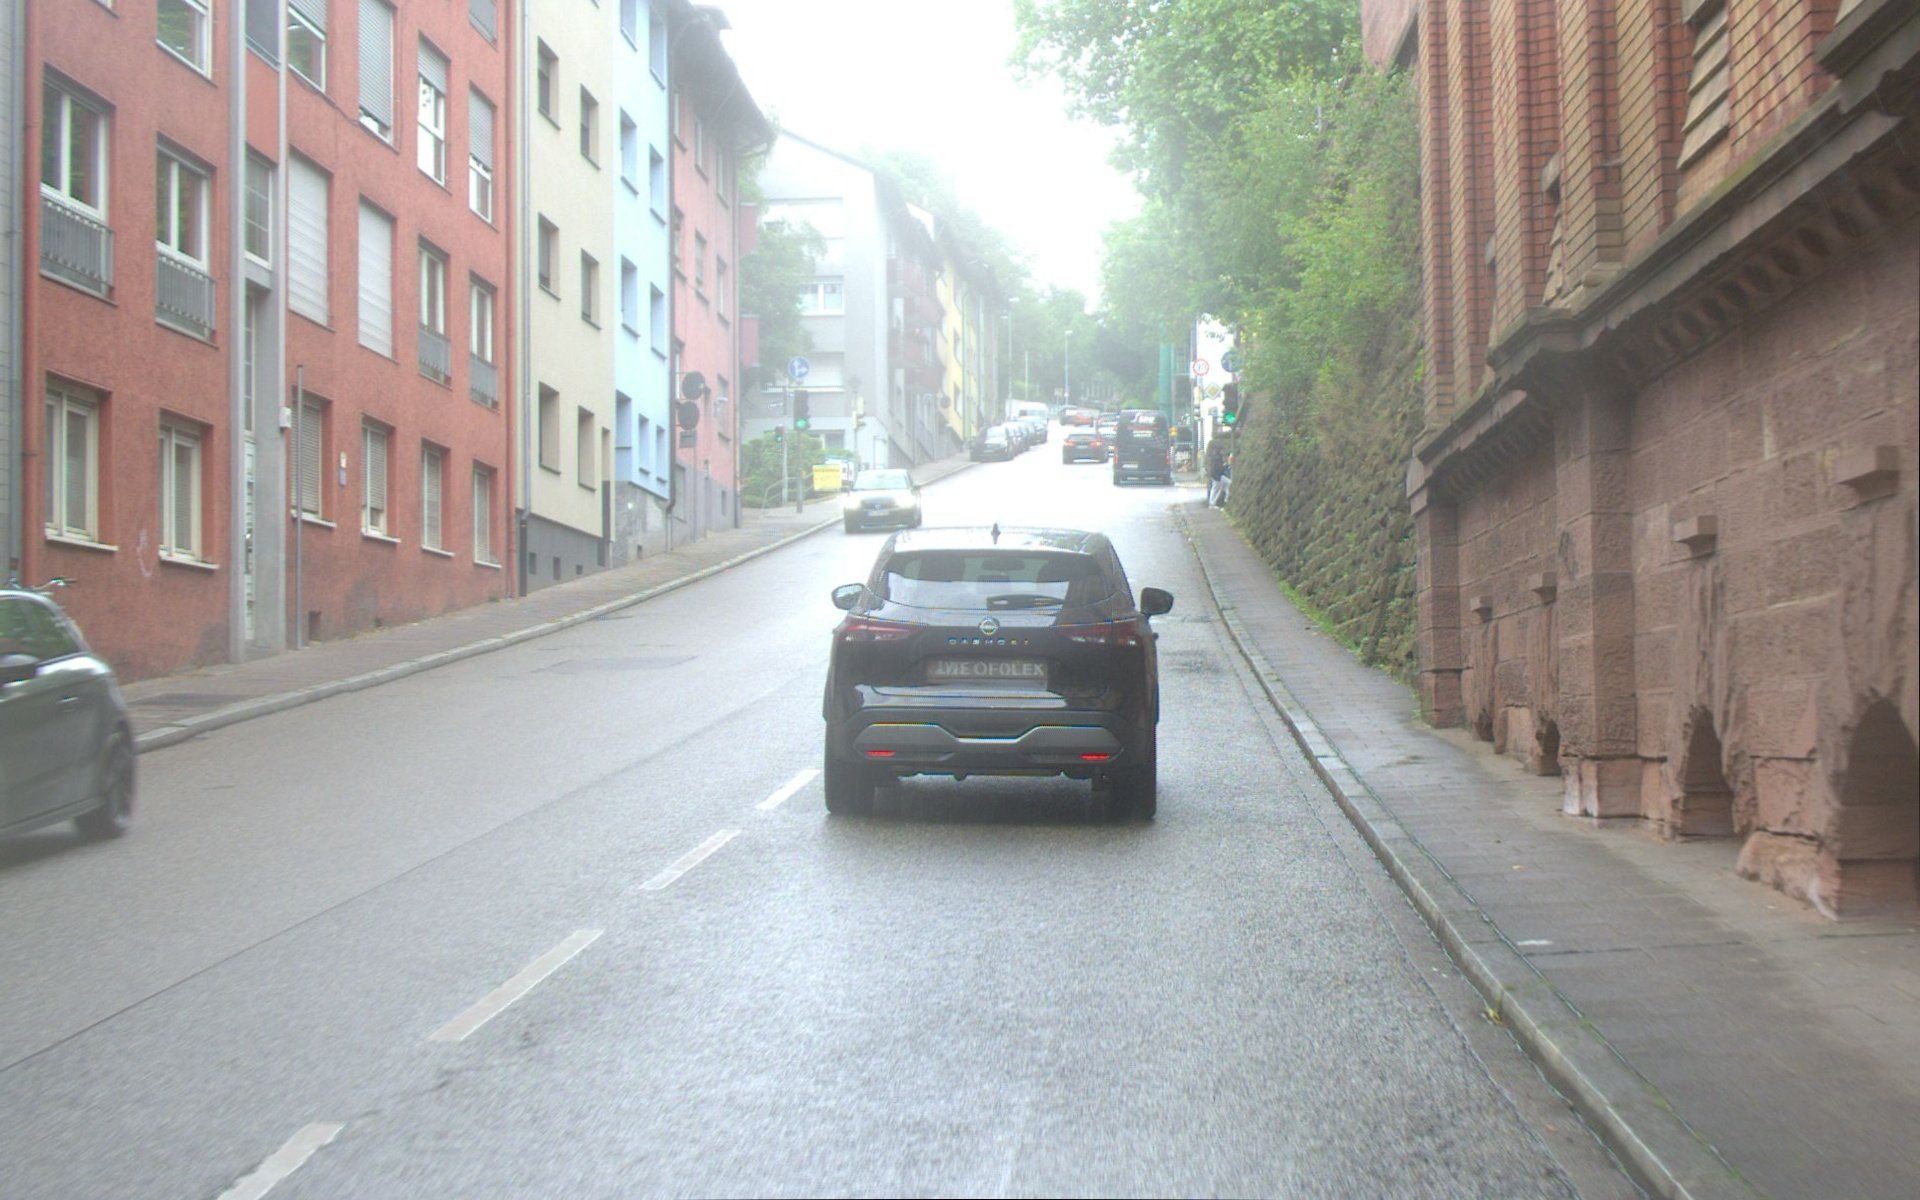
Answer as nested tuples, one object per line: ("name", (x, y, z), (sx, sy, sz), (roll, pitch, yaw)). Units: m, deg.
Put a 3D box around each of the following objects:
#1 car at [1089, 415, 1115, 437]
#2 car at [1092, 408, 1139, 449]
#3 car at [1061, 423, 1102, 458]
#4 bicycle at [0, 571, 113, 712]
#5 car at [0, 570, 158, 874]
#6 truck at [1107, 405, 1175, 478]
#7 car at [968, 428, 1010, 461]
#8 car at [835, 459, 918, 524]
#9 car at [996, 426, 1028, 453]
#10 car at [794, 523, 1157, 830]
("car", (10.190, -12.432, 245.714), (1.794, 1.505, 4.000), (-1, 2, 3))
("car", (6.071, -6.671, 134.093), (1.794, 1.505, 4.500), (-1, 2, 3))
("car", (5.532, -7.237, 156.432), (1.794, 1.505, 4.000), (-1, 2, 3))
("bicycle", (-7.738, 0.337, 29.225), (0.498, 1.104, 1.800), (0, 2, 4))
("car", (-5.289, 0.607, 16.826), (1.644, 1.373, 3.851), (-3, 1, 2))
("truck", (6.284, -5.473, 119.183), (2.289, 2.431, 4.452), (-1, 2, 3))
("car", (1.393, -7.419, 164.141), (1.794, 1.505, 4.000), (-1, 2, 3))
("car", (-1.987, -2.611, 82.446), (1.714, 1.443, 3.921), (-1, 3, 2))
("car", (3.180, -9.745, 208.879), (1.794, 1.505, 4.000), (-1, 2, 3))
("car", (0.141, 0.358, 19.902), (1.881, 1.588, 3.921), (0, 1, 2))
